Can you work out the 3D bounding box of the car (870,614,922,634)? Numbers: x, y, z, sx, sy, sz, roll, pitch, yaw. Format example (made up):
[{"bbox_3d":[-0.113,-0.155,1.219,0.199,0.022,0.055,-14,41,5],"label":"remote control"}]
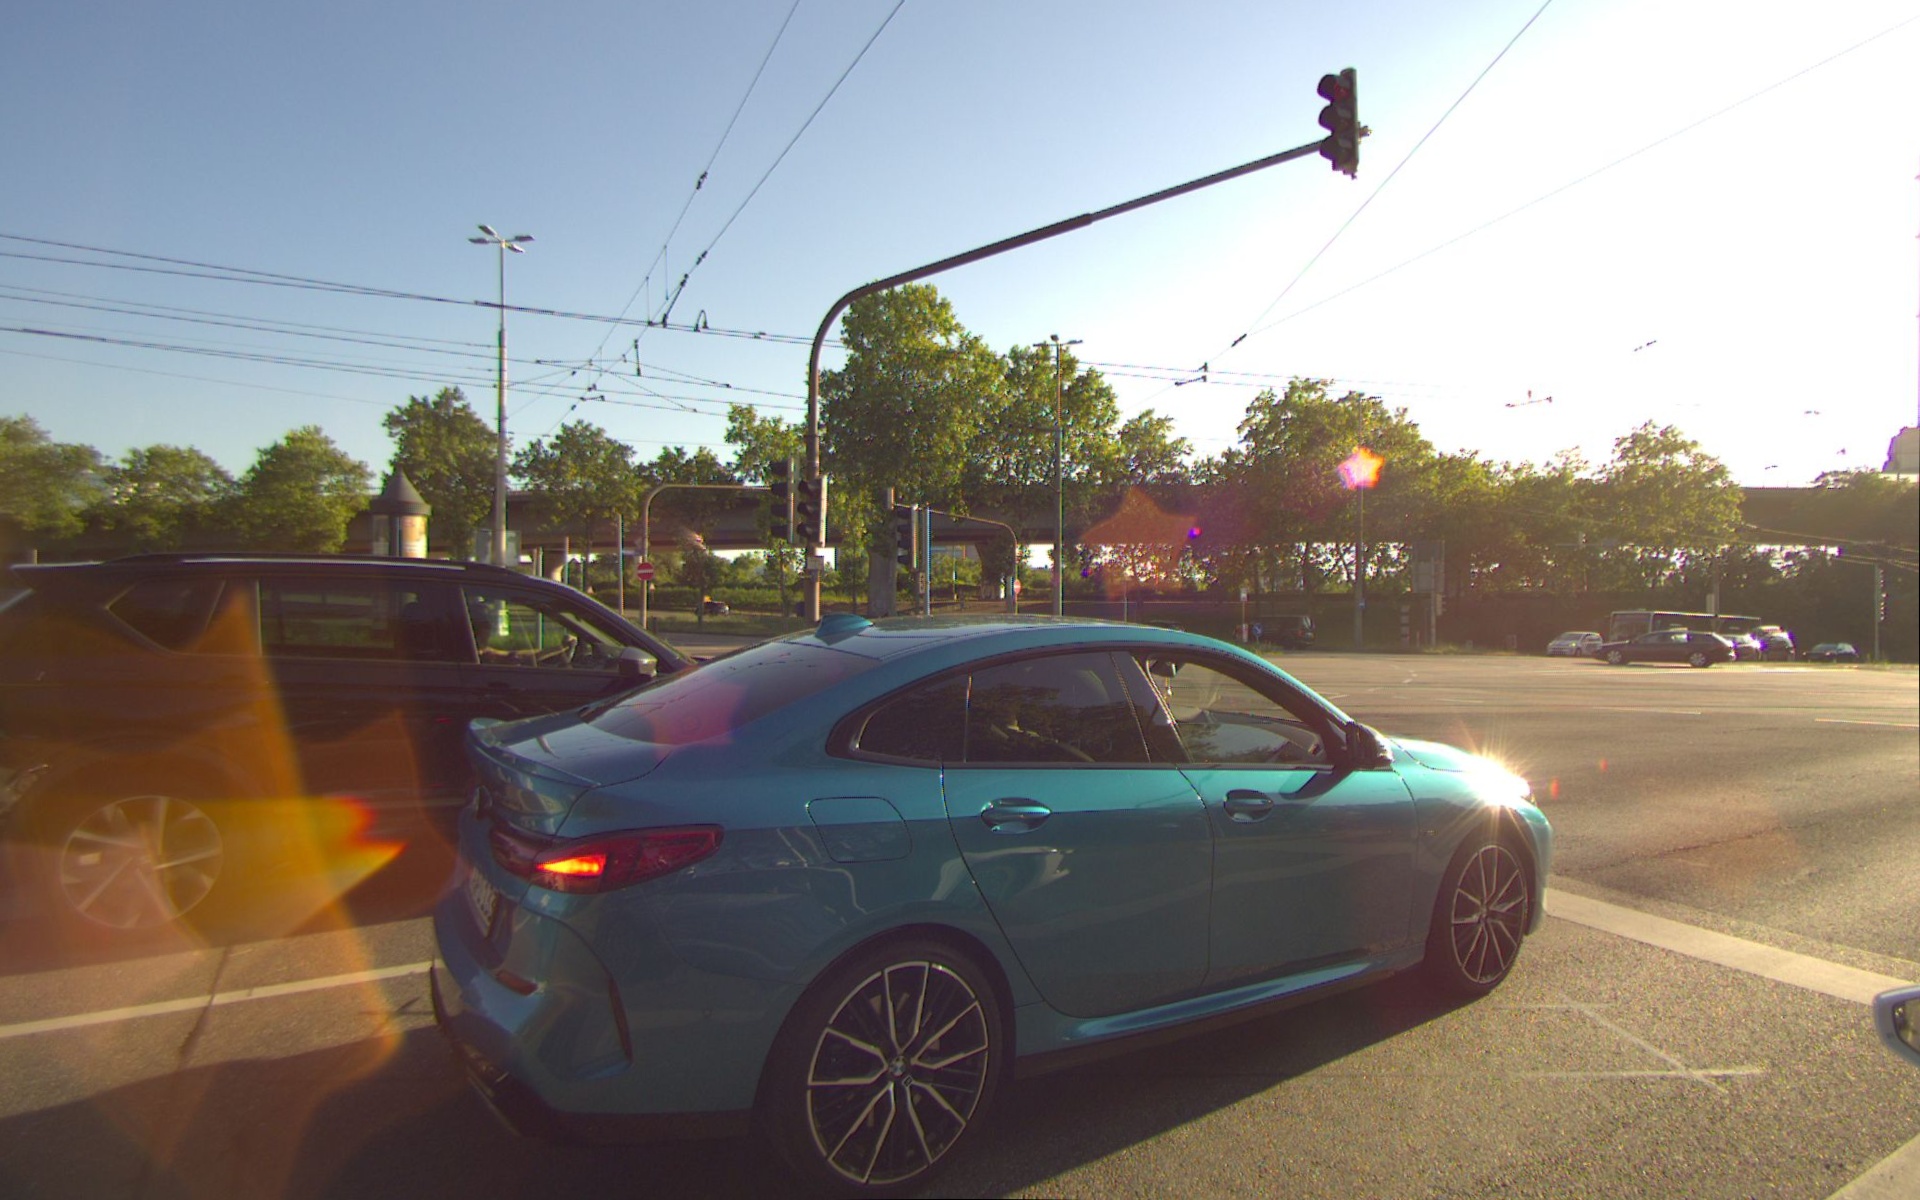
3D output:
[{"bbox_3d":[-5.220,1.953,81.563,1.983,1.473,4.483,2,-1,-39],"label":"car"}]

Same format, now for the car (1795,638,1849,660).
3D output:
[{"bbox_3d":[60.899,3.486,70.938,3.952,1.461,1.692,2,-1,-30],"label":"car"}]

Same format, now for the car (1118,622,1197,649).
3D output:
[{"bbox_3d":[11.853,2.139,60.613,1.982,1.473,4.485,2,-1,-38],"label":"car"}]

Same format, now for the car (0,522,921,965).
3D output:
[{"bbox_3d":[-2.667,0.598,5.626,4.550,1.704,1.905,2,-1,-32],"label":"car"}]

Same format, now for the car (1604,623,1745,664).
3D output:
[{"bbox_3d":[29.062,1.747,40.939,4.471,1.473,1.989,0,-1,43],"label":"car"}]

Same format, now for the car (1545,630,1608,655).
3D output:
[{"bbox_3d":[35.188,2.426,57.314,3.693,1.372,1.595,2,-1,-32],"label":"car"}]

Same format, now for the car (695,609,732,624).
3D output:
[{"bbox_3d":[-25.579,1.700,104.158,1.984,1.473,4.482,2,-1,-40],"label":"car"}]

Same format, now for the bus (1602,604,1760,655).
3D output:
[{"bbox_3d":[45.473,1.884,63.177,12.693,2.993,2.811,2,-1,-28],"label":"bus"}]

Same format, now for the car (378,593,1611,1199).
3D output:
[{"bbox_3d":[0.427,0.760,3.799,4.465,1.436,1.774,2,-1,-33],"label":"car"}]

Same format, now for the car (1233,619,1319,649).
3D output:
[{"bbox_3d":[18.372,1.957,58.549,1.983,1.644,4.484,2,-1,-39],"label":"car"}]

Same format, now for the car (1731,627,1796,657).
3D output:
[{"bbox_3d":[48.167,2.505,60.187,4.046,1.674,1.703,2,-1,-30],"label":"car"}]
